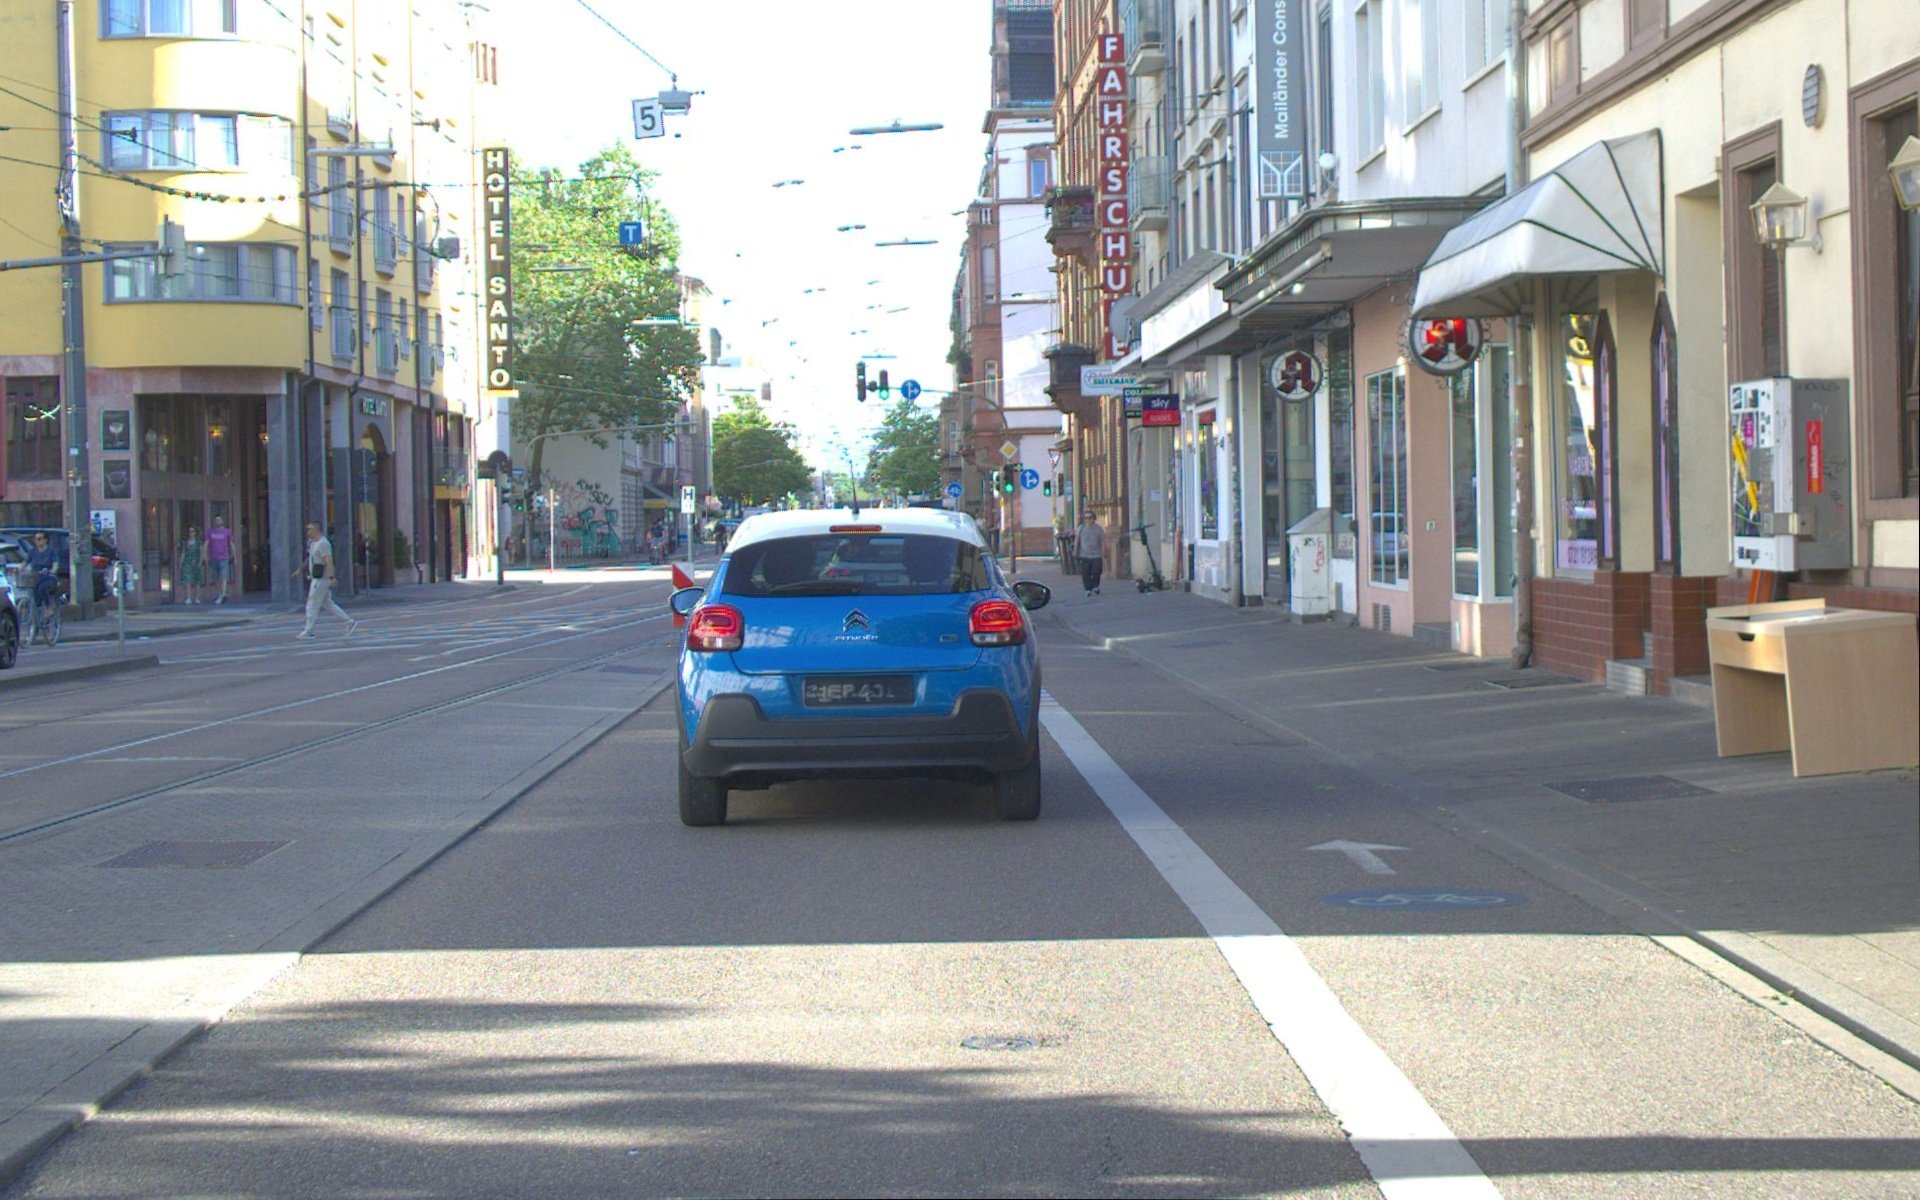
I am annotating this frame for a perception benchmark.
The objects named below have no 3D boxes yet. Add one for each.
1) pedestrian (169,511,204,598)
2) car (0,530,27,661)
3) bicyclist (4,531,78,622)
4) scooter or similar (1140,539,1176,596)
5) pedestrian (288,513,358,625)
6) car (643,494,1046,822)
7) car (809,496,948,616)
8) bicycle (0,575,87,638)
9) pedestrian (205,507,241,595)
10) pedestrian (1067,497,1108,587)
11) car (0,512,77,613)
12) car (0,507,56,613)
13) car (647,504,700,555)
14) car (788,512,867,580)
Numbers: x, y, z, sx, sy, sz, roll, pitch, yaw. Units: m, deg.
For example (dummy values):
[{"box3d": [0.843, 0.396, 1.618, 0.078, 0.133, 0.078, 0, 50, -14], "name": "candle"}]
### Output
[{"box3d": [-16.459, -0.969, 73.157, 0.695, 1.823, 0.841, -1, 1, -13], "name": "pedestrian"}, {"box3d": [-11.970, 0.021, 38.209, 1.951, 1.481, 4.000, -2, 2, 2], "name": "car"}, {"box3d": [-13.319, -0.343, 49.850, 0.730, 1.287, 1.180, -1, 1, 0], "name": "bicyclist"}, {"box3d": [3.457, -0.571, 60.118, 0.512, 0.956, 1.851, -1, 2, 0], "name": "scooter or similar"}, {"box3d": [-9.569, -0.472, 51.630, 0.838, 1.648, 0.697, -2, 2, -29], "name": "pedestrian"}, {"box3d": [-0.541, 0.213, 17.144, 1.781, 1.446, 3.654, 1, 1, -1], "name": "car"}, {"box3d": [-1.215, -0.649, 51.981, 1.993, 1.737, 4.000, 1, 0, -1], "name": "car"}, {"box3d": [-13.330, 0.082, 49.804, 0.679, 0.824, 2.576, -1, 2, 0], "name": "bicycle"}, {"box3d": [-15.712, -1.052, 73.286, 0.695, 1.851, 0.841, -1, 1, -13], "name": "pedestrian"}, {"box3d": [2.351, -1.079, 63.537, 0.693, 1.645, 0.680, -1, 1, -2], "name": "pedestrian"}, {"box3d": [-18.698, -0.689, 64.158, 3.986, 1.841, 1.958, -1, 1, -4], "name": "car"}, {"box3d": [-18.293, -0.704, 61.098, 3.986, 1.841, 1.958, -1, 1, -4], "name": "car"}, {"box3d": [-11.649, -2.871, 140.004, 1.993, 2.007, 4.000, 1, 0, -3], "name": "car"}, {"box3d": [-3.485, -1.416, 91.161, 1.993, 1.737, 4.000, 1, 0, -1], "name": "car"}]
